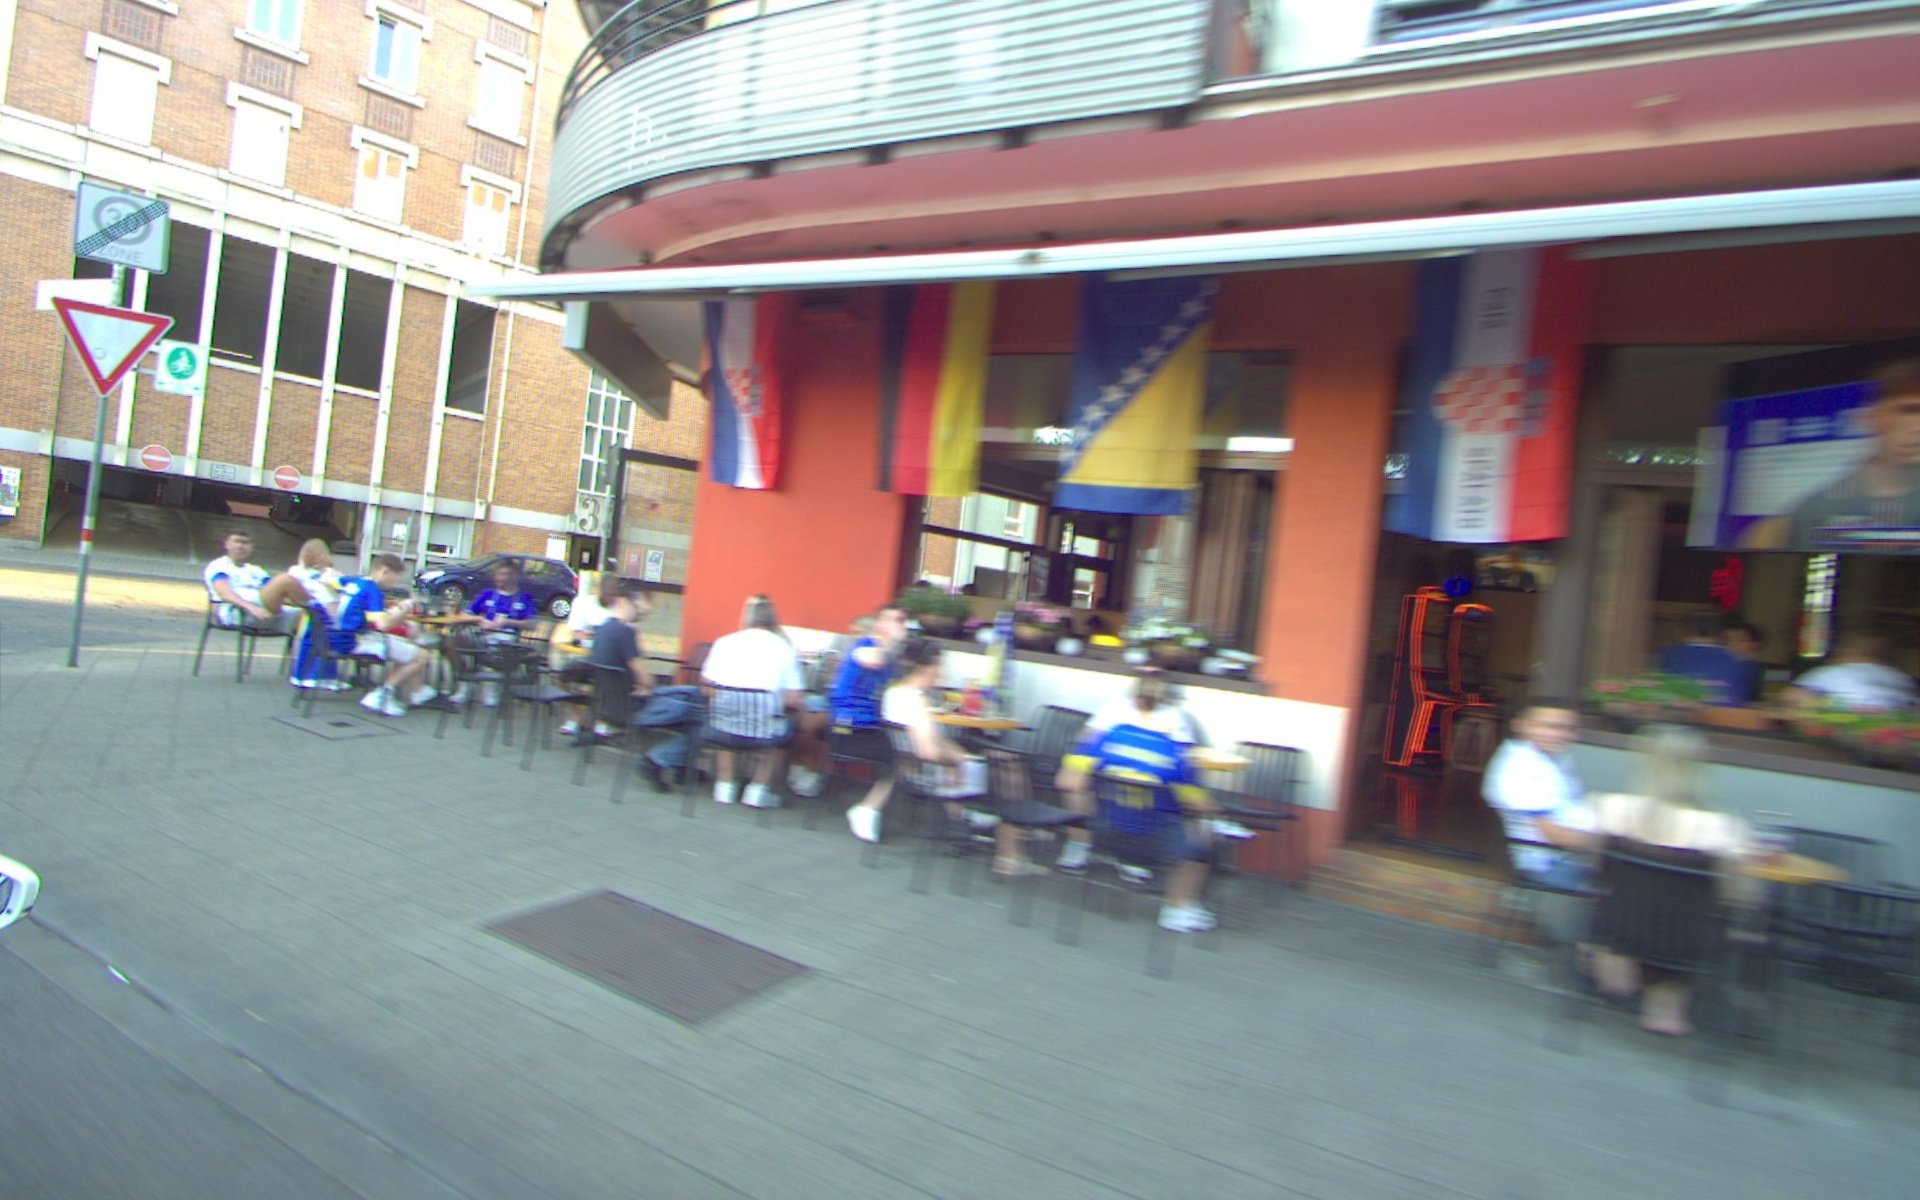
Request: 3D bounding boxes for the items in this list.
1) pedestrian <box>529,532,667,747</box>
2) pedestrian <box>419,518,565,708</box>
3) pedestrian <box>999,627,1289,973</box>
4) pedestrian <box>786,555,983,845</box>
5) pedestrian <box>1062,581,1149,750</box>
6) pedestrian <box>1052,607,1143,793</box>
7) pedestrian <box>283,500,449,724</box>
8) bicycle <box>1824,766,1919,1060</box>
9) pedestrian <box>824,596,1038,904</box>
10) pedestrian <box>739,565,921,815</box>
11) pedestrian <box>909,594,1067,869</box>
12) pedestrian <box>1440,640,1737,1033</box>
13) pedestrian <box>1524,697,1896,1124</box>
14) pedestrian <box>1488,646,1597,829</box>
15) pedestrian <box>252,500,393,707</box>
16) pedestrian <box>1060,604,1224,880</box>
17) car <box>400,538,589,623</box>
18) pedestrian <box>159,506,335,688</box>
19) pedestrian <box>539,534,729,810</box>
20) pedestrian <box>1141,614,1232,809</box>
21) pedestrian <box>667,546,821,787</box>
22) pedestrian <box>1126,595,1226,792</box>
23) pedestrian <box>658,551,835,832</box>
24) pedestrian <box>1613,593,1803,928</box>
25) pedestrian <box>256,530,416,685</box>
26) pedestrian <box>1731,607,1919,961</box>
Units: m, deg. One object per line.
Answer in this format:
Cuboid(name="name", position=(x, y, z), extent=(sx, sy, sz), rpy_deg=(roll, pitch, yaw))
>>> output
Cuboid(name="pedestrian", position=(-2.854, 0.310, 7.914), extent=(0.745, 1.554, 0.643), rpy_deg=(8, -1, -29))
Cuboid(name="pedestrian", position=(-4.244, 0.124, 9.186), extent=(0.838, 1.554, 0.714), rpy_deg=(8, -1, -7))
Cuboid(name="pedestrian", position=(0.846, 0.849, 4.647), extent=(0.872, 1.322, 0.843), rpy_deg=(5, 1, -42))
Cuboid(name="pedestrian", position=(-0.434, 0.583, 6.091), extent=(0.667, 1.554, 0.853), rpy_deg=(7, -1, 25))
Cuboid(name="pedestrian", position=(1.660, 0.737, 11.425), extent=(0.607, 1.798, 0.612), rpy_deg=(7, 0, 26))
Cuboid(name="pedestrian", position=(1.441, 1.023, 10.468), extent=(0.606, 1.798, 0.612), rpy_deg=(7, 0, 20))
Cuboid(name="pedestrian", position=(-4.514, 0.072, 7.647), extent=(0.838, 1.557, 0.712), rpy_deg=(7, 4, 30))
Cuboid(name="bicycle", position=(4.672, 1.371, 3.792), extent=(1.971, 1.100, 0.550), rpy_deg=(7, -1, 28))
Cuboid(name="pedestrian", position=(-0.136, 0.706, 5.112), extent=(0.736, 1.362, 0.654), rpy_deg=(7, 3, 25))
Cuboid(name="pedestrian", position=(-0.874, 0.591, 6.889), extent=(0.769, 1.522, 0.769), rpy_deg=(7, 0, 26))
Cuboid(name="pedestrian", position=(0.174, 0.730, 5.892), extent=(0.551, 1.453, 0.666), rpy_deg=(7, 2, 25))
Cuboid(name="pedestrian", position=(2.845, 1.008, 4.662), extent=(0.701, 1.554, 0.854), rpy_deg=(8, -1, 6))
Cuboid(name="pedestrian", position=(2.741, 1.075, 3.793), extent=(0.701, 1.294, 0.853), rpy_deg=(4, 0, 6))
Cuboid(name="pedestrian", position=(6.285, 1.457, 10.847), extent=(0.750, 1.815, 0.648), rpy_deg=(7, 0, 38))
Cuboid(name="pedestrian", position=(-5.116, 0.032, 8.074), extent=(0.710, 1.555, 0.681), rpy_deg=(6, 1, -45))
Cuboid(name="pedestrian", position=(1.082, 0.801, 5.887), extent=(0.591, 1.438, 0.714), rpy_deg=(7, -1, 27))
Cuboid(name="car", position=(-11.911, -0.488, 25.820), extent=(3.969, 1.538, 1.979), rpy_deg=(9, -1, -38))
Cuboid(name="pedestrian", position=(-6.070, -0.020, 8.608), extent=(0.823, 1.399, 0.771), rpy_deg=(6, 1, 2))
Cuboid(name="pedestrian", position=(-2.038, 0.416, 6.332), extent=(0.746, 1.557, 0.713), rpy_deg=(7, 4, 24))
Cuboid(name="pedestrian", position=(2.264, 1.089, 10.013), extent=(0.606, 1.798, 0.612), rpy_deg=(7, 0, 20))
Cuboid(name="pedestrian", position=(-1.517, 0.445, 7.112), extent=(0.643, 1.556, 0.674), rpy_deg=(7, 3, 26))
Cuboid(name="pedestrian", position=(2.409, 1.024, 11.178), extent=(0.658, 2.038, 0.814), rpy_deg=(7, 0, 27))
Cuboid(name="pedestrian", position=(-1.294, 0.519, 6.139), extent=(0.687, 1.548, 0.649), rpy_deg=(7, 4, 24))
Cuboid(name="pedestrian", position=(4.296, 0.889, 5.831), extent=(0.607, 1.759, 0.611), rpy_deg=(7, 0, 27))
Cuboid(name="pedestrian", position=(-5.774, 0.074, 9.352), extent=(0.949, 1.297, 0.686), rpy_deg=(5, 0, 3))
Cuboid(name="pedestrian", position=(4.870, 0.964, 5.568), extent=(0.657, 1.741, 0.718), rpy_deg=(7, 0, 27))
